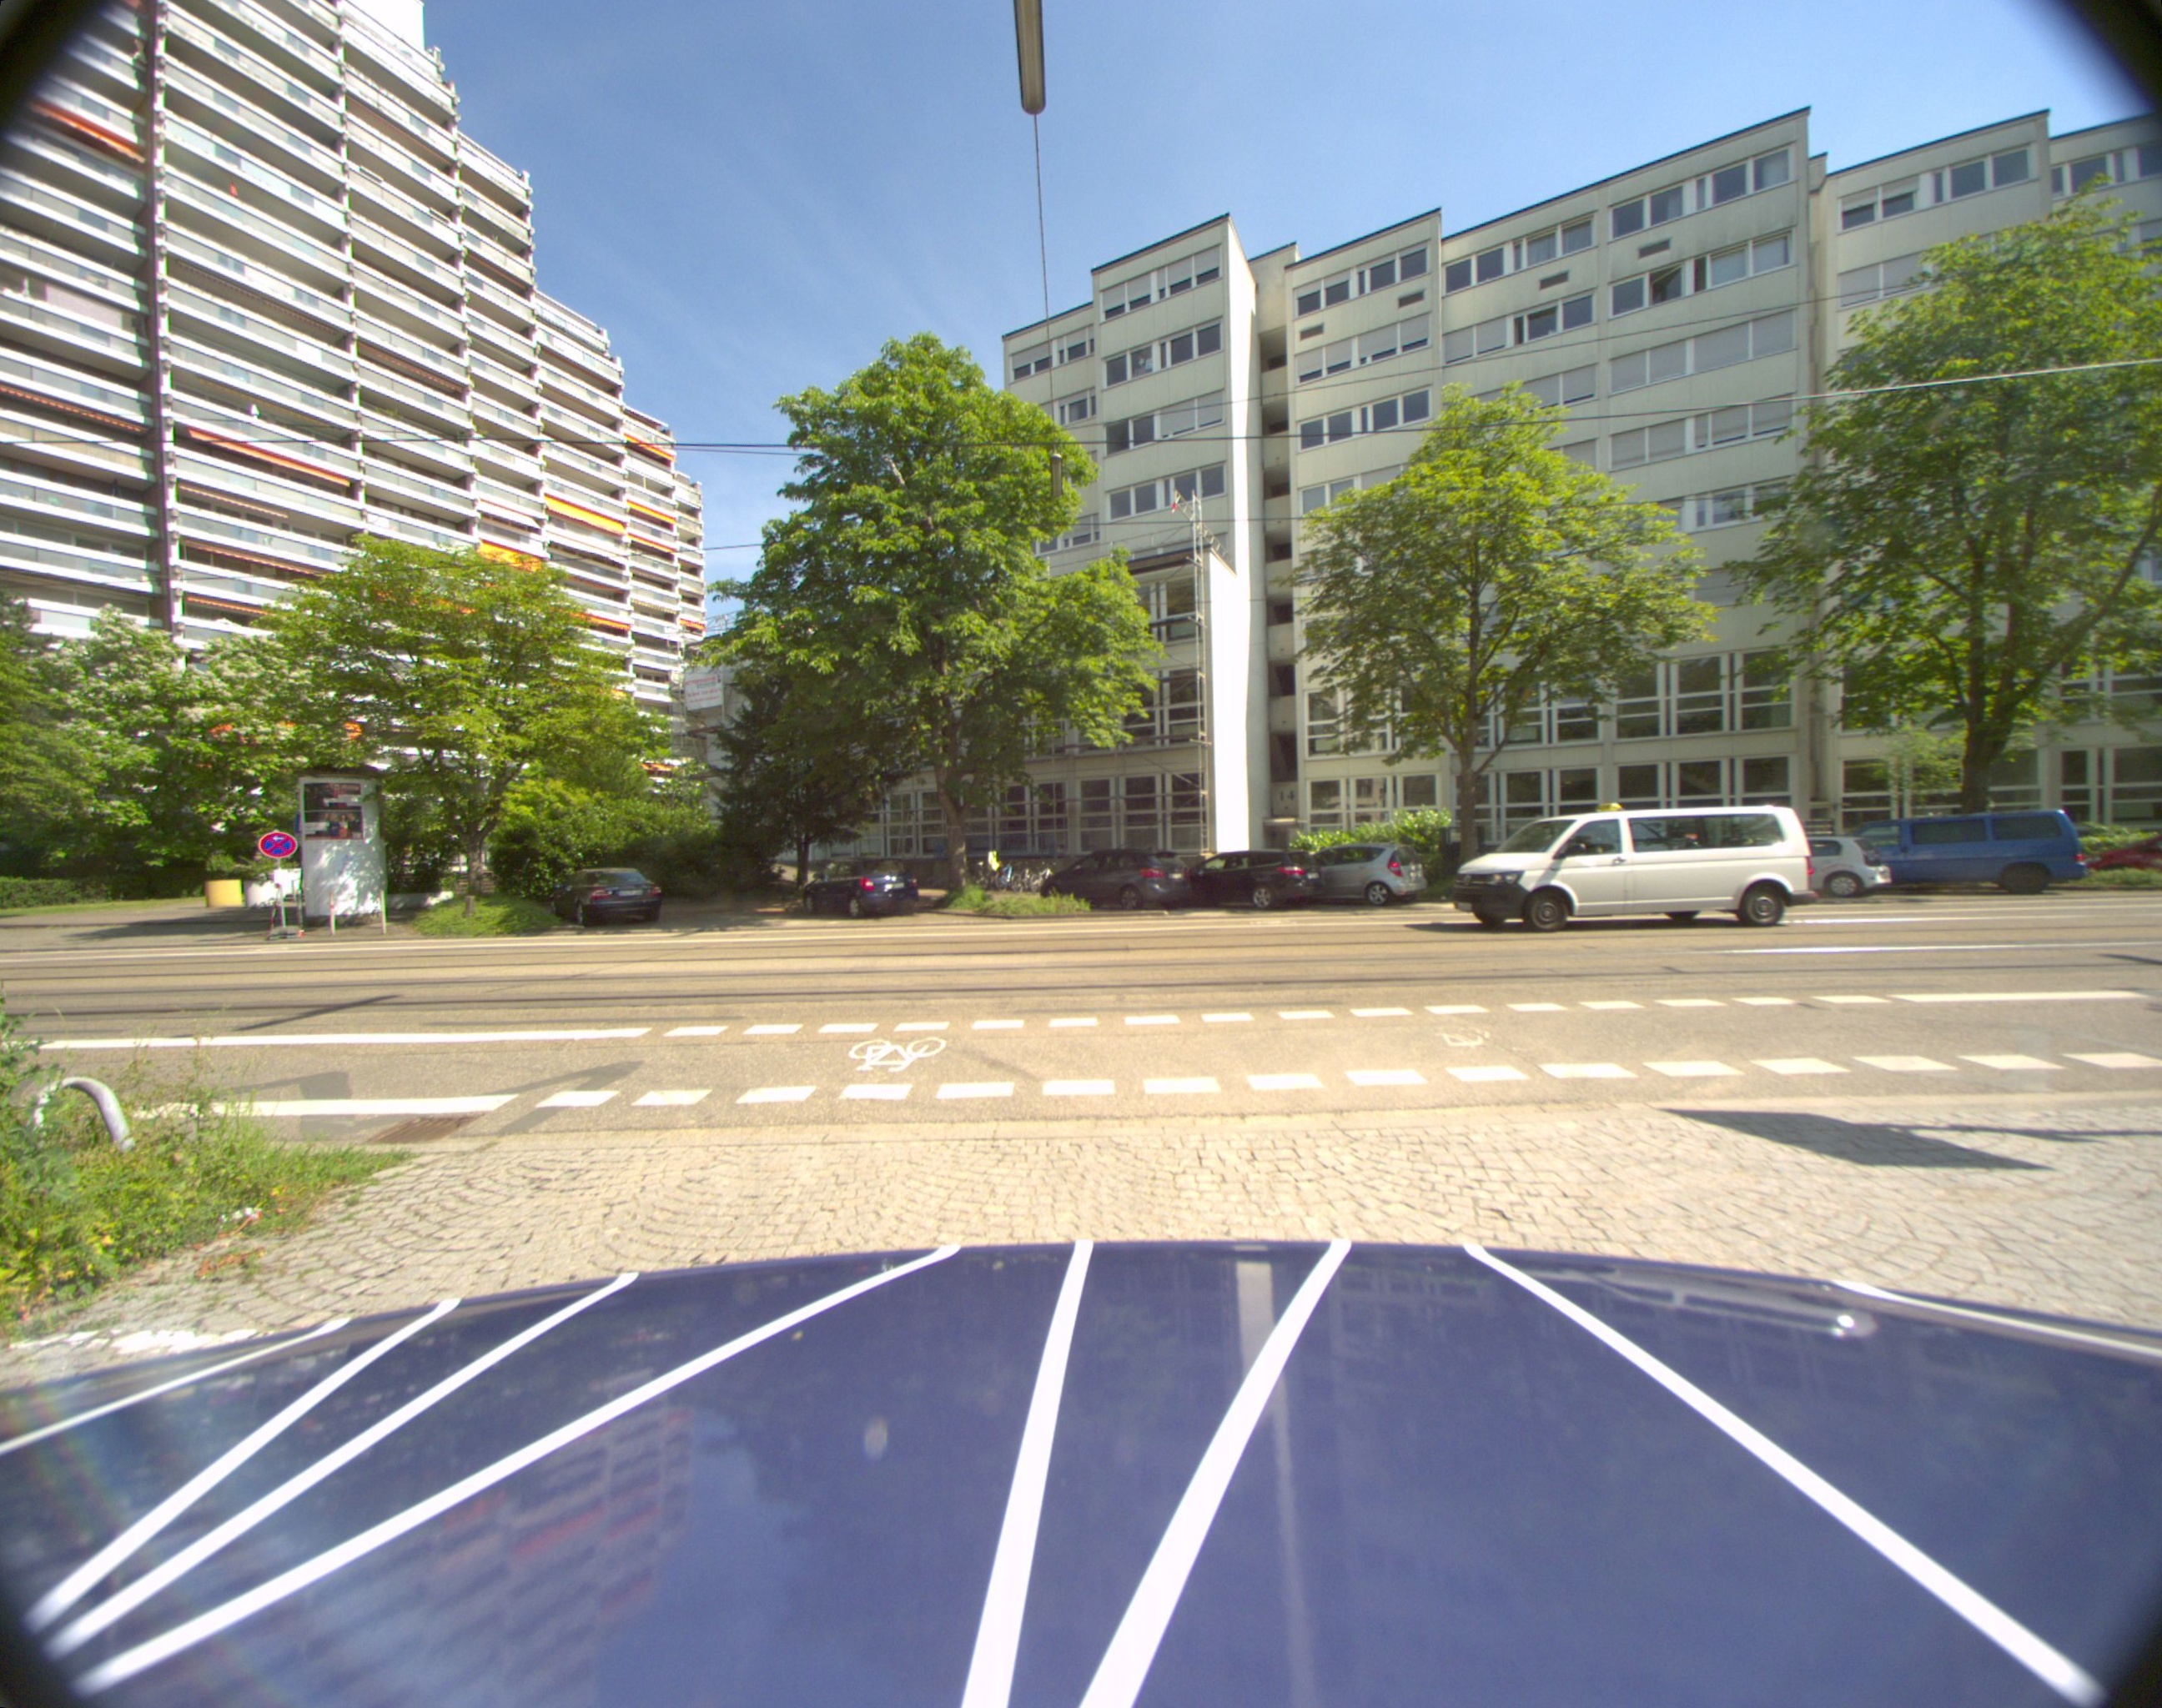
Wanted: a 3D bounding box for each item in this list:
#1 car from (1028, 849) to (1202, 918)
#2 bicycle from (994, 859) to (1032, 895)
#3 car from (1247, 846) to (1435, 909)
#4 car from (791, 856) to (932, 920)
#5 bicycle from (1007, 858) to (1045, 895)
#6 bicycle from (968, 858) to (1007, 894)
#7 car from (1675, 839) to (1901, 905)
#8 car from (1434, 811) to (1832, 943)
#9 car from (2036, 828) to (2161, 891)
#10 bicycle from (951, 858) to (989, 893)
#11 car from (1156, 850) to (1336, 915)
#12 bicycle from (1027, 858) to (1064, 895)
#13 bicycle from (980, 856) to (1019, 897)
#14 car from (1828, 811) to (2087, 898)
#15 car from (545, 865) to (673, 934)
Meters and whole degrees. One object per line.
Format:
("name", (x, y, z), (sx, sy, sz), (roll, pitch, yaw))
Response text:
("car", (0.790, 0.715, 19.785), (4.378, 1.556, 1.811), (-2, 1, 44))
("bicycle", (-2.381, 0.788, 26.778), (0.488, 1.193, 2.019), (-1, 1, 20))
("car", (6.790, 0.592, 20.178), (1.806, 1.477, 4.328), (-2, 1, -44))
("car", (-5.772, 0.835, 19.713), (1.807, 1.440, 3.974), (-2, 1, -44))
("bicycle", (-1.892, 0.766, 26.588), (0.488, 1.193, 2.019), (-1, 1, 20))
("bicycle", (-3.342, 0.780, 27.349), (0.488, 1.193, 2.019), (-1, 1, 20))
("car", (17.616, 0.416, 19.108), (1.713, 1.455, 3.840), (-2, 0, -33))
("car", (9.112, 0.358, 12.914), (5.245, 1.934, 1.996), (-2, 1, 1))
("car", (27.265, 0.114, 18.888), (1.786, 1.529, 4.208), (-2, -1, -45))
("bicycle", (-4.027, 0.769, 27.750), (0.488, 1.193, 2.019), (-1, 1, 19))
("car", (4.180, 0.699, 19.626), (4.173, 1.467, 1.805), (-1, 1, 43))
("bicycle", (-1.205, 0.772, 26.321), (0.488, 1.193, 2.019), (-1, 1, 20))
("bicycle", (-2.870, 0.774, 26.940), (0.488, 1.370, 2.019), (-1, 1, 20))
("car", (21.125, 0.047, 18.604), (1.791, 1.895, 3.989), (-2, 0, -45))
("car", (-12.311, 1.087, 19.713), (1.846, 1.402, 4.135), (-4, 4, -45))
